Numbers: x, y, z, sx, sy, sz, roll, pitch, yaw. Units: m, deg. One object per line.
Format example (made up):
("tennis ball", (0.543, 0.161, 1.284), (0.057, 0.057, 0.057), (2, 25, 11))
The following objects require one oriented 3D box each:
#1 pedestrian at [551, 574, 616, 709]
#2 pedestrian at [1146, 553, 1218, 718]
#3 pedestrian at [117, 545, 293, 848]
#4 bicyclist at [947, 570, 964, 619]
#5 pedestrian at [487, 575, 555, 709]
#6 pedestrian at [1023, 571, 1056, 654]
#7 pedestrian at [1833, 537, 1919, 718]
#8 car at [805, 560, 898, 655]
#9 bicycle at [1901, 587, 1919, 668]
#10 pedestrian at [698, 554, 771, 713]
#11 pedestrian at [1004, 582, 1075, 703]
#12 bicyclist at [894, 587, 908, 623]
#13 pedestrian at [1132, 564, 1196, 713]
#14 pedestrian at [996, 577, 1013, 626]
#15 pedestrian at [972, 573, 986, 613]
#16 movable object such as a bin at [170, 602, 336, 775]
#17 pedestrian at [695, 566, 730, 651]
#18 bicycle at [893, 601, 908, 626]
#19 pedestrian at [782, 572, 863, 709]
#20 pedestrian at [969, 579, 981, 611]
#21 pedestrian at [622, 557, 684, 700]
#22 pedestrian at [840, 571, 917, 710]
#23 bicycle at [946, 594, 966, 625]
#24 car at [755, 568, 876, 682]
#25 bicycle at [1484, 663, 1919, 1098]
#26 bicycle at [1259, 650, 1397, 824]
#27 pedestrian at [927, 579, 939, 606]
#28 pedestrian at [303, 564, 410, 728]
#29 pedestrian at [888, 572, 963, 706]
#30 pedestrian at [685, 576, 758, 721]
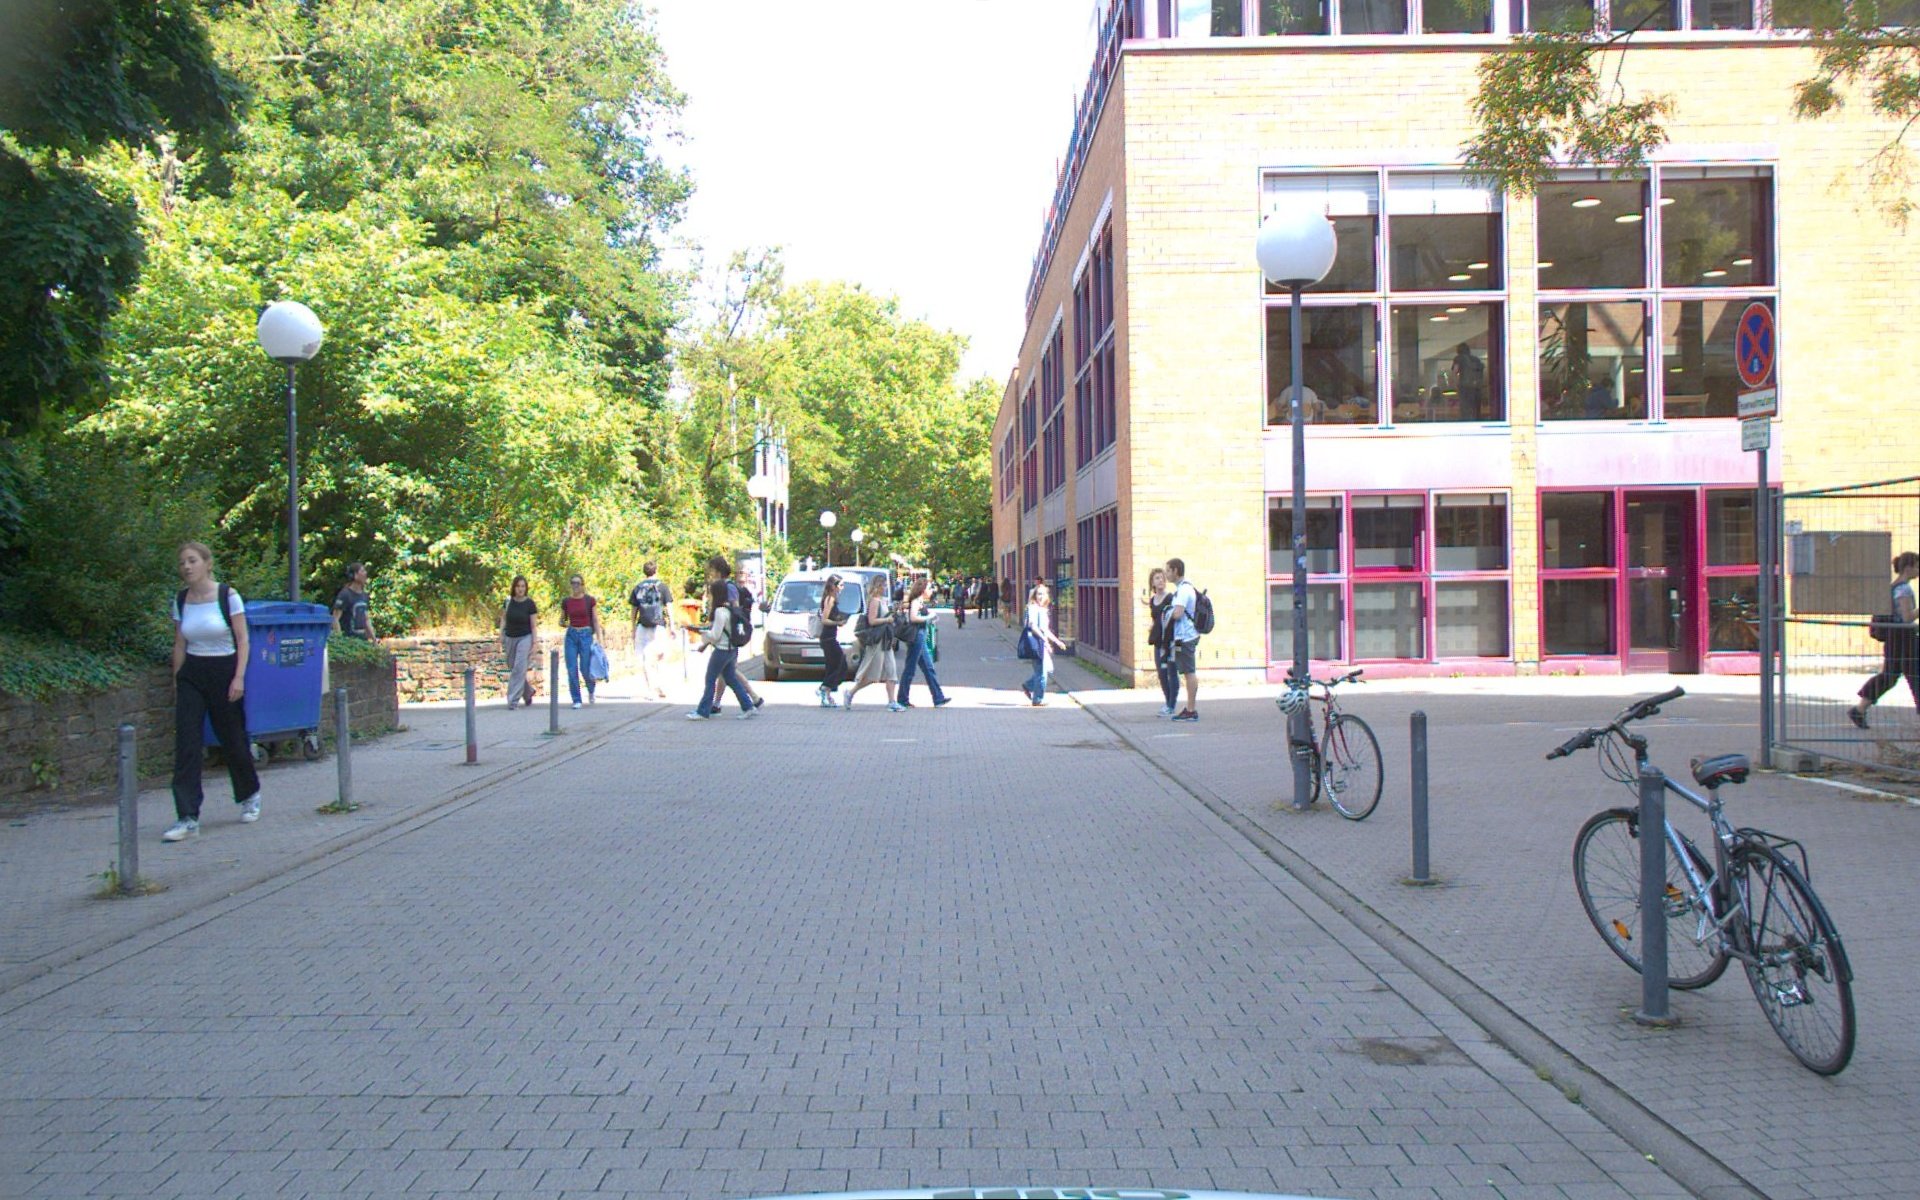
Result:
("pedestrian", (-4.719, 0.514, 20.799), (0.669, 1.649, 0.913), (0, -1, -5))
("pedestrian", (2.520, 0.404, 18.859), (0.750, 1.826, 0.588), (-2, -1, 6))
("pedestrian", (-4.601, 0.561, 10.140), (0.669, 1.758, 1.001), (0, 0, -5))
("bicyclist", (-0.155, -0.184, 59.239), (0.575, 1.746, 0.665), (0, 0, -4))
("pedestrian", (-5.511, 0.520, 20.809), (0.669, 1.649, 0.977), (0, -1, -5))
("pedestrian", (1.718, 0.277, 35.792), (0.668, 1.778, 0.783), (0, -1, -1))
("pedestrian", (8.814, 0.259, 15.628), (0.834, 1.680, 0.588), (0, -1, 6))
("car", (-2.404, 0.135, 37.794), (1.845, 2.008, 5.214), (0, 0, -1))
("bicycle", (14.225, 0.399, 23.211), (1.773, 1.129, 0.523), (1, 0, -3))
("pedestrian", (-2.707, 0.404, 19.919), (0.809, 1.876, 0.684), (0, -1, -3))
("pedestrian", (1.069, 0.556, 22.094), (0.867, 1.569, 0.743), (-2, 0, 6))
("bicyclist", (-2.649, 0.214, 74.019), (0.575, 1.600, 0.829), (0, 0, -4))
("pedestrian", (2.402, 0.451, 19.504), (0.682, 1.702, 0.588), (-2, -1, 6))
("pedestrian", (1.567, 0.056, 58.269), (0.574, 1.702, 0.699), (-2, -1, 0))
("pedestrian", (0.838, -0.297, 71.919), (0.574, 1.702, 0.817), (-2, -1, 0))
("movable object such as a bin", (-5.962, 0.716, 14.007), (0.694, 1.359, 1.240), (2, 0, 9))
("pedestrian", (-5.525, 0.195, 36.938), (0.668, 1.876, 0.783), (0, -1, -1))
("bicycle", (-2.662, 0.590, 74.051), (0.575, 1.102, 1.812), (0, 0, -4))
("pedestrian", (-1.766, 0.512, 21.369), (0.867, 1.701, 0.644), (-2, 1, 6))
("pedestrian", (0.937, -0.321, 102.557), (0.640, 1.956, 0.817), (-2, -1, 0))
("pedestrian", (-4.097, 0.381, 22.114), (0.668, 1.876, 0.783), (0, -1, -1))
("pedestrian", (-1.016, 0.501, 20.707), (0.867, 1.702, 0.559), (0, -1, 6))
("bicycle", (-0.150, 0.332, 59.226), (0.575, 1.102, 1.906), (0, 0, -4))
("car", (-2.430, 0.375, 28.705), (1.754, 1.792, 4.480), (-1, 1, -1))
("bicycle", (2.355, 0.801, 5.413), (0.694, 1.112, 1.748), (0, 0, -1))
("bicycle", (2.409, 0.864, 10.989), (0.441, 0.978, 1.740), (-3, 0, -1))
("pedestrian", (-1.716, -0.462, 104.852), (0.710, 1.702, 0.748), (-2, -1, 0))
("pedestrian", (-6.684, 0.494, 18.318), (1.001, 1.758, 0.681), (0, -1, 39))
("pedestrian", (-0.458, 0.497, 21.546), (0.911, 1.702, 0.587), (-1, -1, -5))
("pedestrian", (-2.766, 0.556, 19.233), (0.765, 1.649, 0.684), (0, -1, -3))
